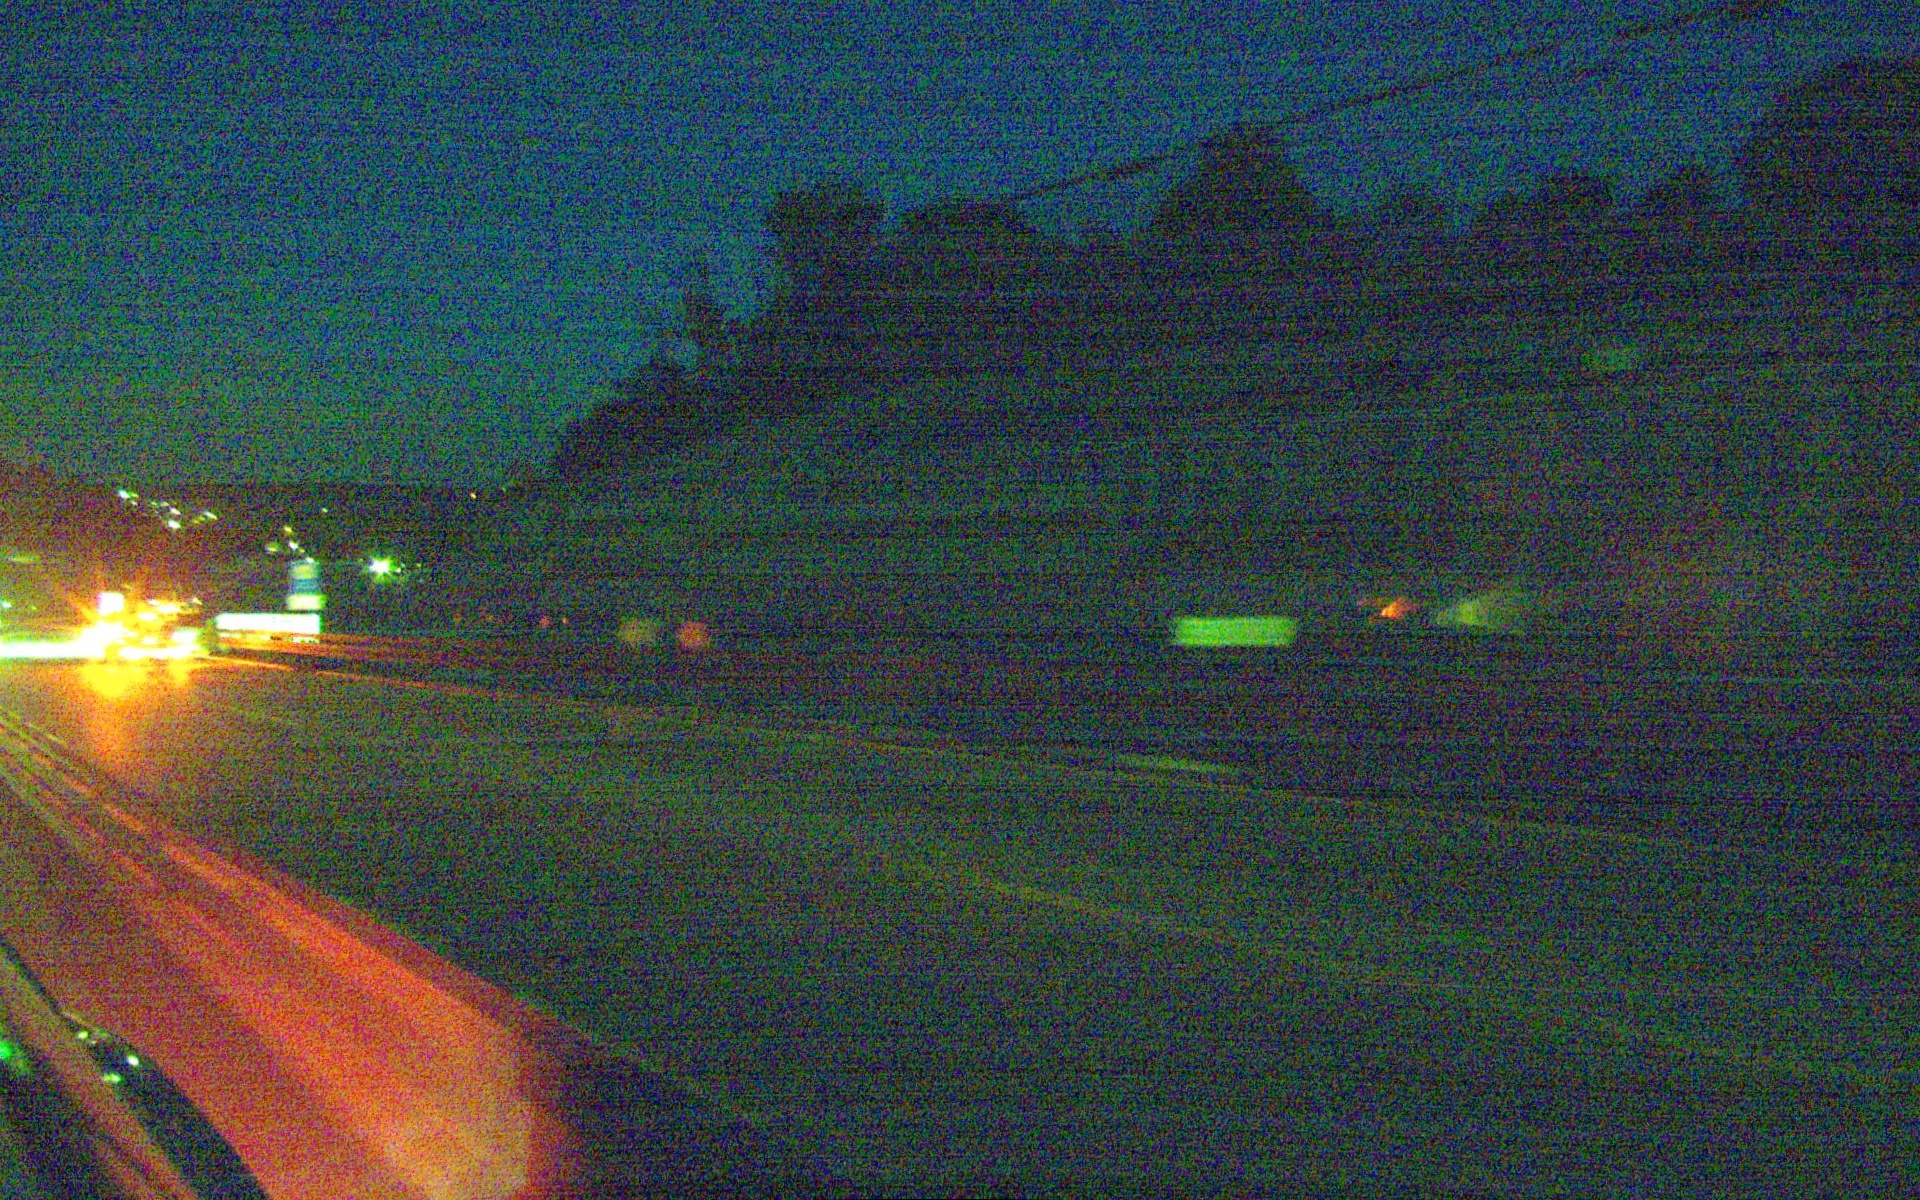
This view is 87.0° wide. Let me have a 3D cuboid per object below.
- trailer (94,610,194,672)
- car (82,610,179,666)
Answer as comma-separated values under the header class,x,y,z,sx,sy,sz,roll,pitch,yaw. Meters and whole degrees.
class,x,y,z,sx,sy,sz,roll,pitch,yaw
trailer,-23.824,1.139,29.498,1.989,1.652,3.420,0,0,-44
car,-26.674,1.161,32.496,1.990,1.652,4.866,0,-1,-44
